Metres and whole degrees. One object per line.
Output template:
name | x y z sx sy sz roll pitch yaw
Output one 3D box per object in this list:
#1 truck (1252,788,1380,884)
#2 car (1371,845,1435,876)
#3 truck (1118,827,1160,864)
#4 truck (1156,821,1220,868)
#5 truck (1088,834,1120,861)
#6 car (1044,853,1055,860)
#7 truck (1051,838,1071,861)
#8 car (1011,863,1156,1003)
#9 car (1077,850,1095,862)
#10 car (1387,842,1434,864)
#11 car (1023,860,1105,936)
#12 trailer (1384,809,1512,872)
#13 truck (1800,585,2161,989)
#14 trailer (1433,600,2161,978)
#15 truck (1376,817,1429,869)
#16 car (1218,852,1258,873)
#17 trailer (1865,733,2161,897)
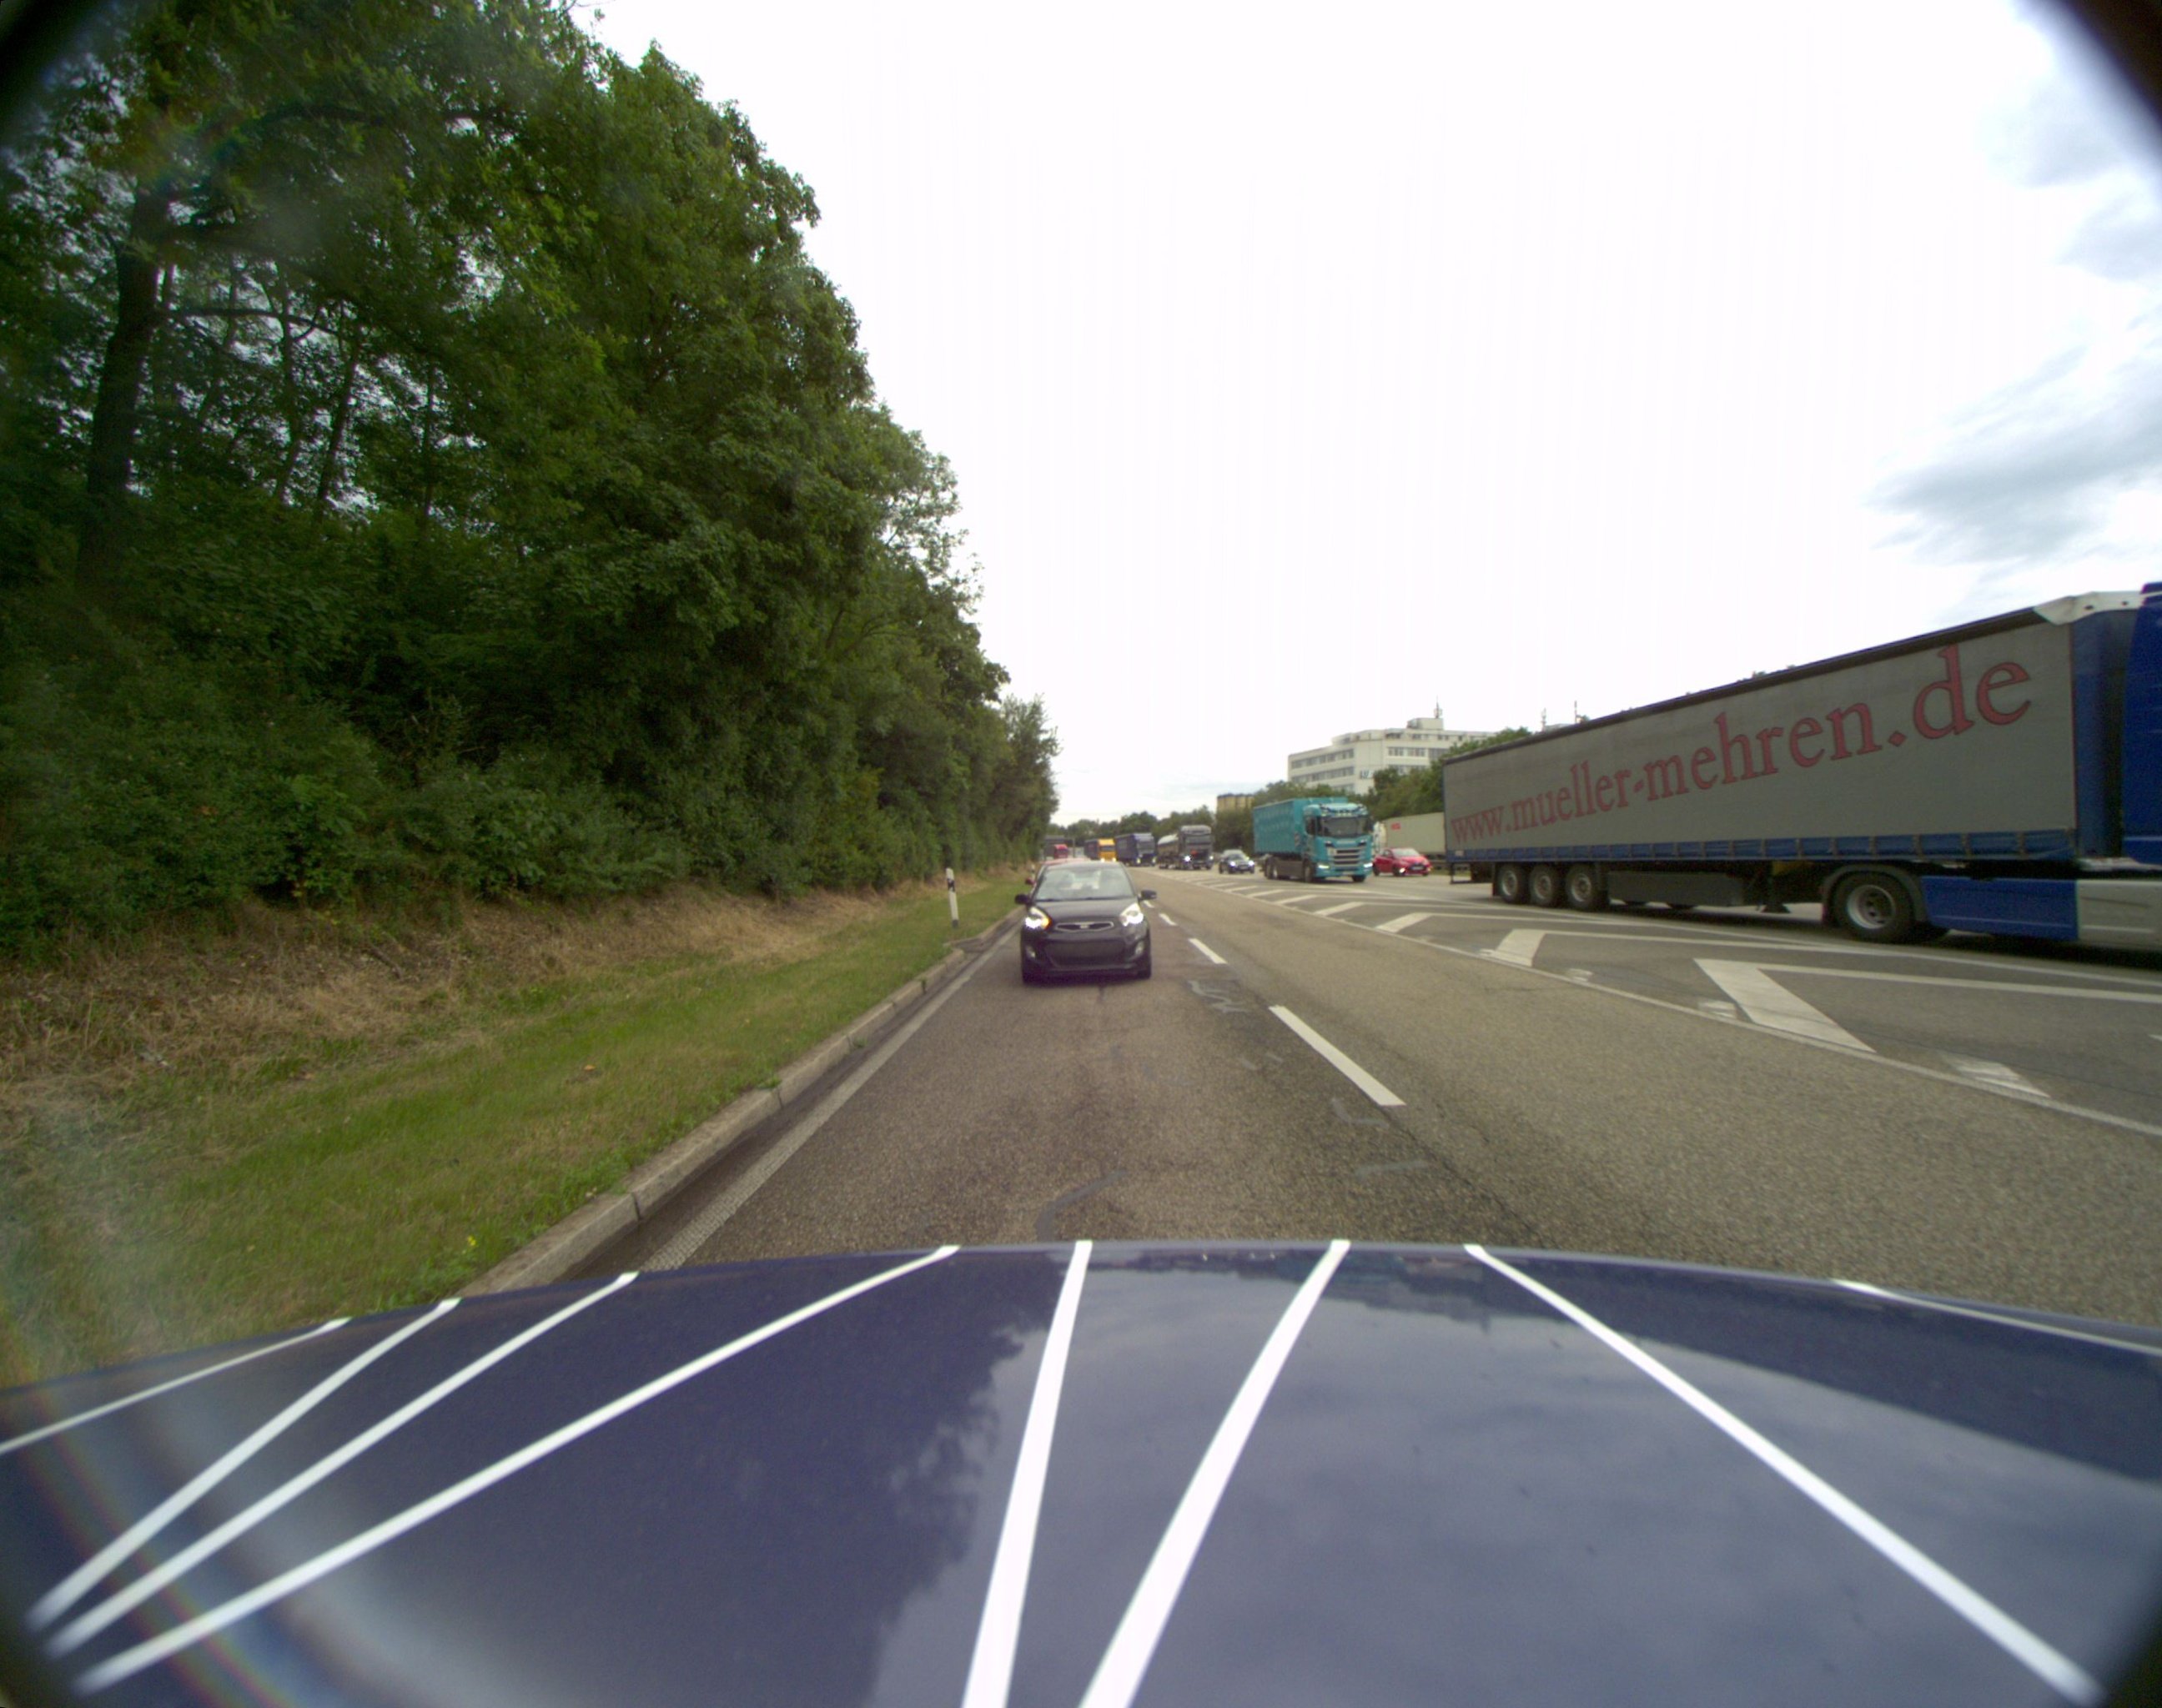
truck | 10.977 -0.764 36.918 2.700 3.977 10.122 -2 0 -2
car | 16.028 0.311 38.016 1.746 1.410 3.447 -1 0 0
truck | 7.195 -1.018 96.843 2.814 4.206 13.999 -2 0 -6
truck | 9.787 -0.798 71.422 3.329 3.902 13.140 -2 0 -4
truck | 3.746 -0.967 127.198 2.848 4.206 14.111 -2 0 -8
car | -6.735 0.511 161.128 1.749 1.430 3.480 -1 0 -12
truck | -4.643 -0.924 174.314 2.848 5.070 14.111 -2 0 -8
car | 0.066 0.921 10.608 1.584 1.485 4.000 -2 0 1
car | 0.676 0.296 107.836 1.907 1.653 4.749 -1 1 -6
car | 22.427 -0.062 51.852 1.746 1.410 3.447 -1 0 0
car | -0.344 0.913 17.261 1.630 1.492 3.564 -1 0 0
trailer | 26.134 -0.888 55.240 2.404 4.005 13.073 -1 0 -3
truck | 11.886 -0.685 8.116 2.676 3.938 5.926 -2 0 -2
trailer | 11.703 -0.718 14.971 2.680 3.951 13.917 -2 0 -2
truck | 25.827 -0.886 61.207 2.412 3.997 3.999 -1 0 -3
car | 10.691 0.545 51.968 1.757 1.314 3.999 -2 0 -2
trailer | 27.401 -0.975 18.433 2.600 3.959 13.782 -1 0 0
